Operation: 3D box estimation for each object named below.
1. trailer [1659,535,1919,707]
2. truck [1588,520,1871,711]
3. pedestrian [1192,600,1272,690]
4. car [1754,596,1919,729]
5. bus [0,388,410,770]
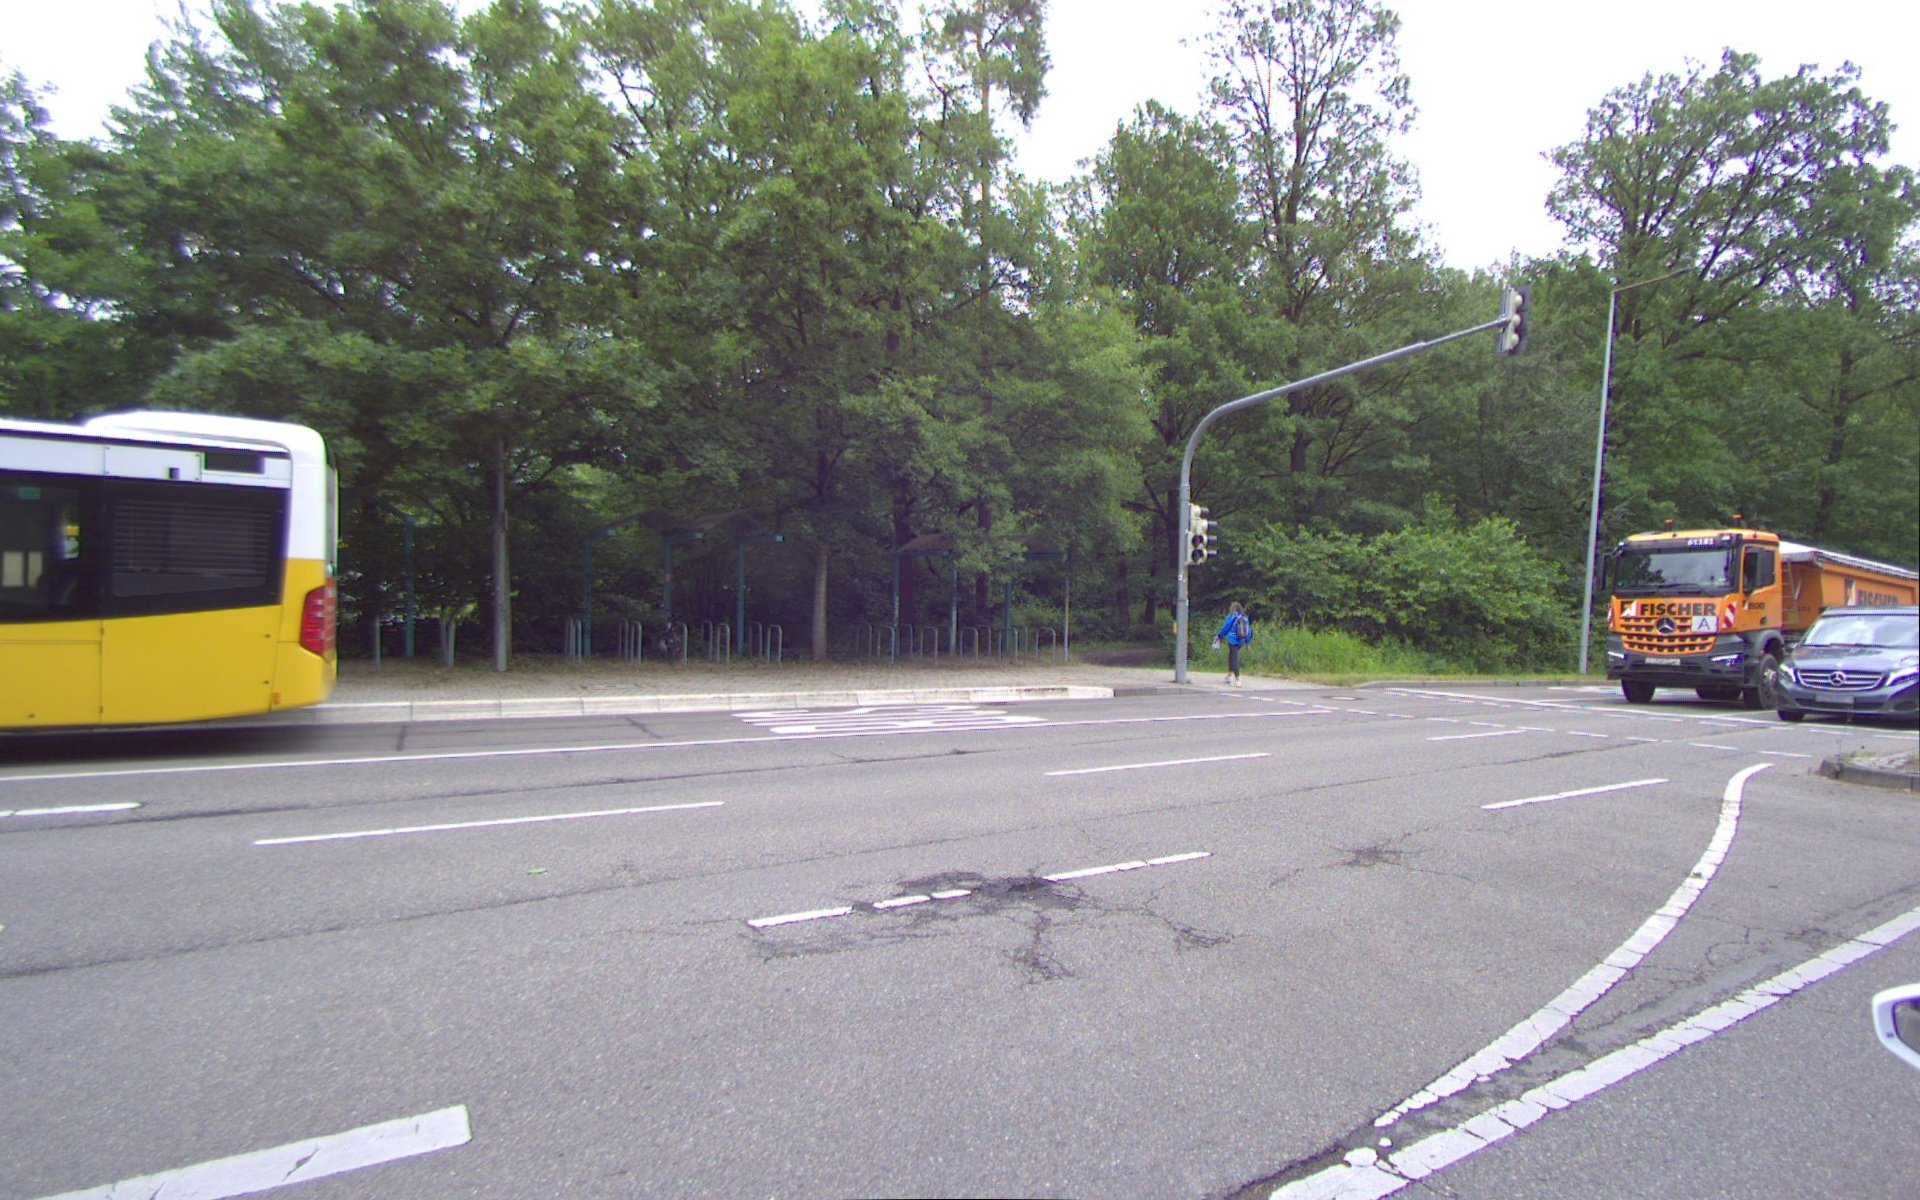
[{"bbox_3d":[19.477,0.589,23.264,8.485,3.362,2.720,3,-2,-36],"label":"trailer"},{"bbox_3d":[16.118,0.426,20.854,7.090,3.362,2.721,3,-2,-36],"label":"truck"},{"bbox_3d":[5.483,0.886,20.302,1.055,1.671,1.043,0,4,-26],"label":"pedestrian"},{"bbox_3d":[15.341,1.001,16.729,4.789,1.918,1.981,2,-2,-34],"label":"car"},{"bbox_3d":[-9.829,-0.215,8.921,8.592,3.168,2.885,1,0,-30],"label":"bus"}]
